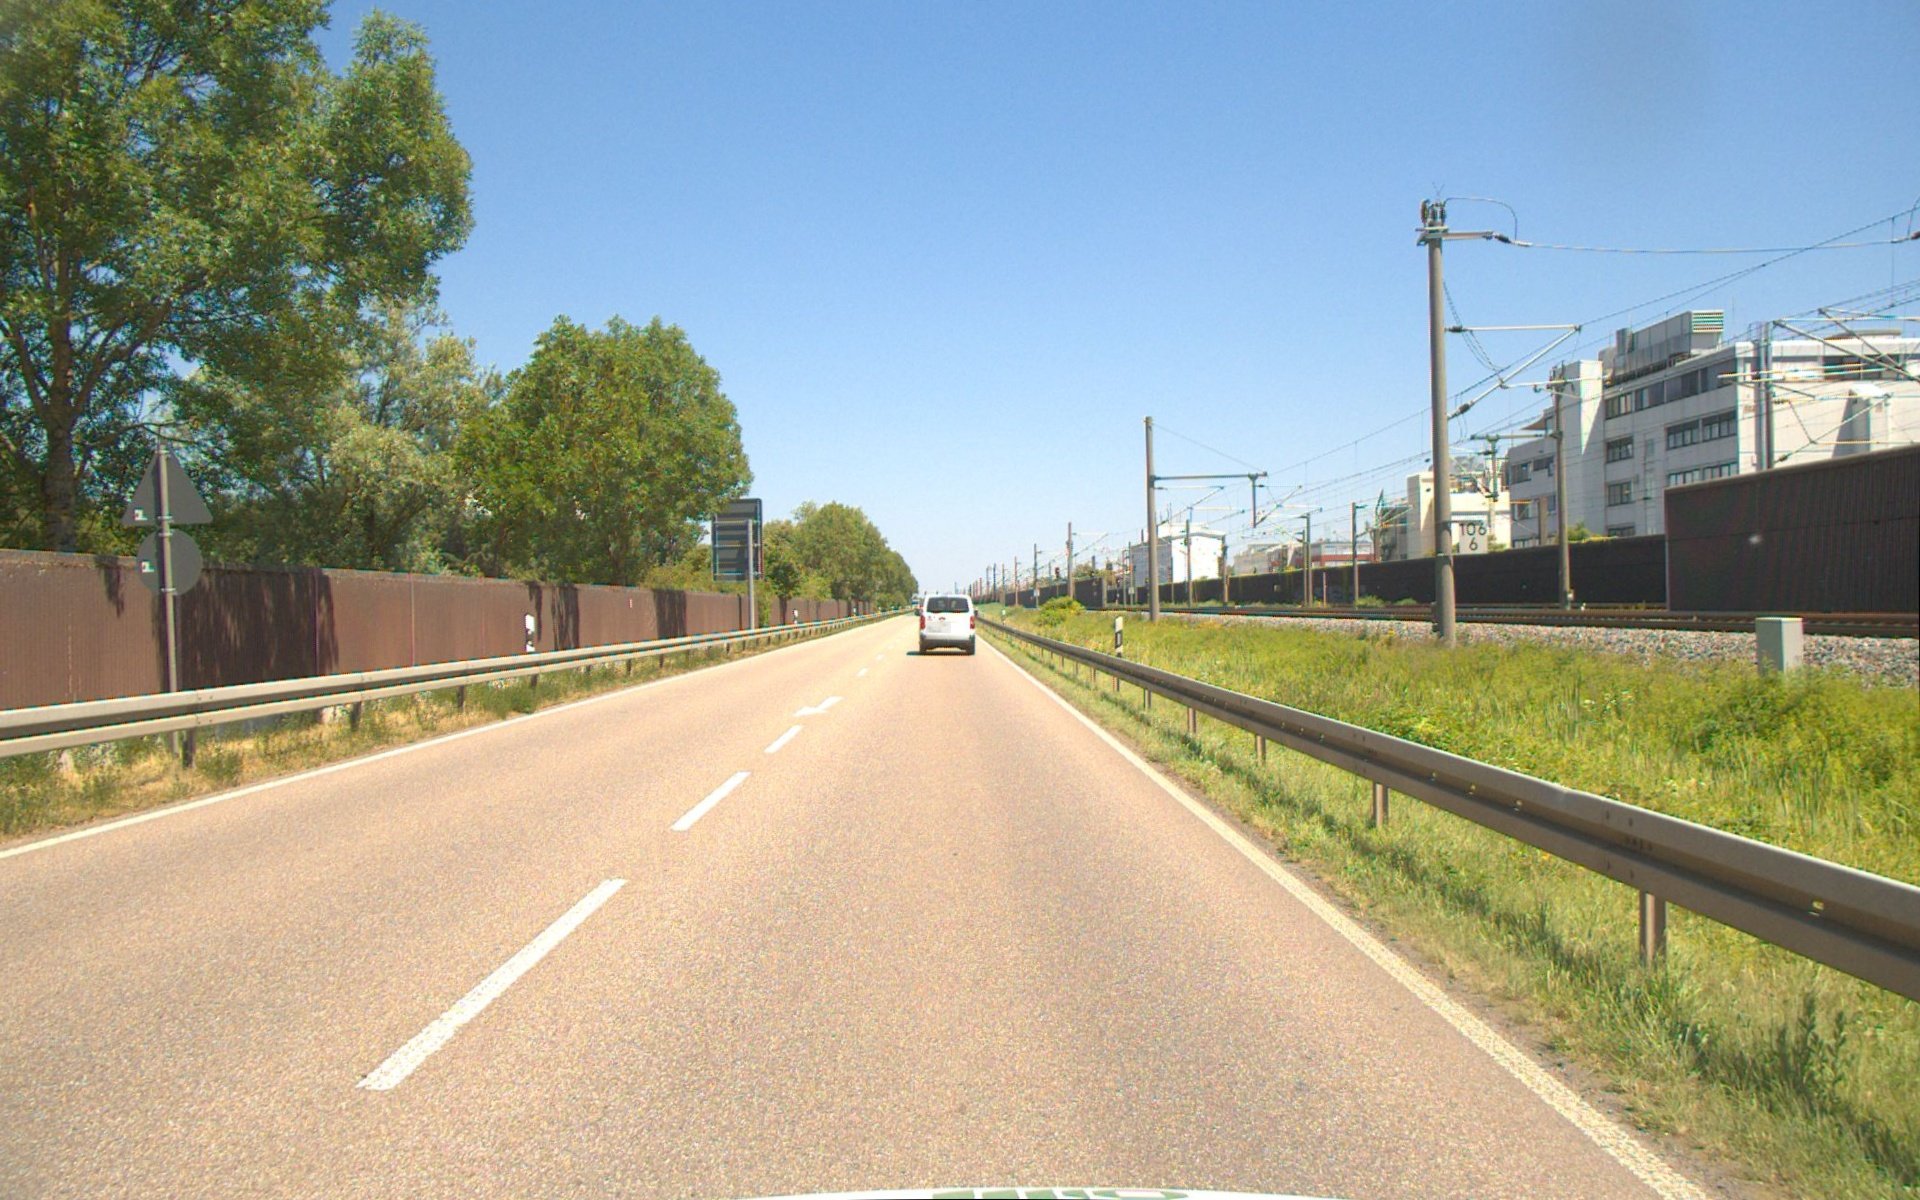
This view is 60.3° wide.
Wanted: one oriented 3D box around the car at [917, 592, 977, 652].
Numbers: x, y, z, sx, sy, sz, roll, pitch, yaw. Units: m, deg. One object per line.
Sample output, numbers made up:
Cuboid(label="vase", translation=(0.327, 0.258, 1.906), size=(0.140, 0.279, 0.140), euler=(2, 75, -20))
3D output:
Cuboid(label="car", translation=(-0.441, 0.712, 54.920), size=(1.906, 1.914, 4.879), euler=(0, -1, -1))
